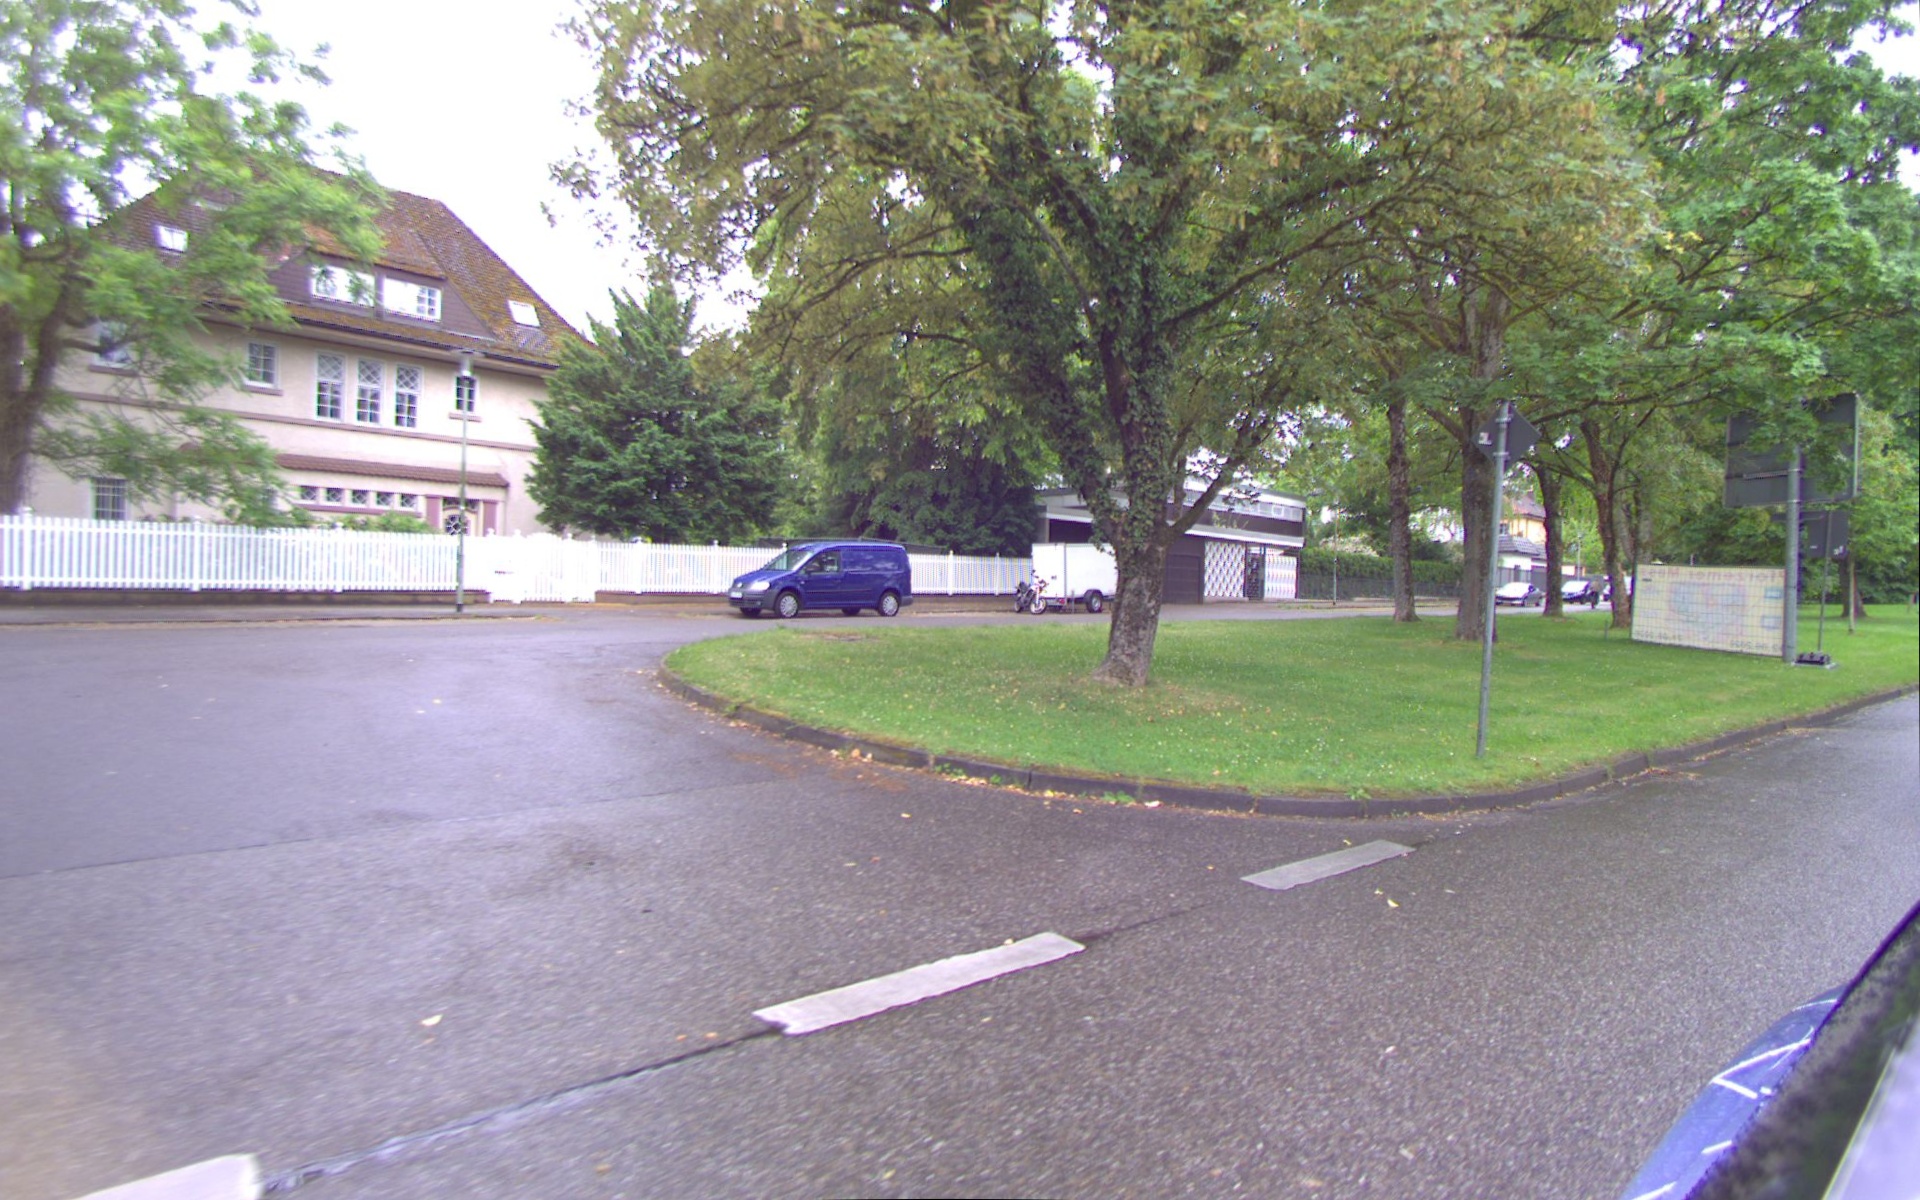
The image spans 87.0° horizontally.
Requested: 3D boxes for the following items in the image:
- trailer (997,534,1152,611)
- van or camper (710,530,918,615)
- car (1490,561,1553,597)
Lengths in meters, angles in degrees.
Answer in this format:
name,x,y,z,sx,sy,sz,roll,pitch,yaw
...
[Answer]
name,x,y,z,sx,sy,sz,roll,pitch,yaw
trailer,3.537,-0.800,30.593,5.106,2.143,1.768,-1,0,-43
van or camper,-3.391,-0.608,24.231,1.994,1.831,4.699,0,0,45
car,33.034,-1.243,59.492,3.930,2.038,1.998,0,2,-41
